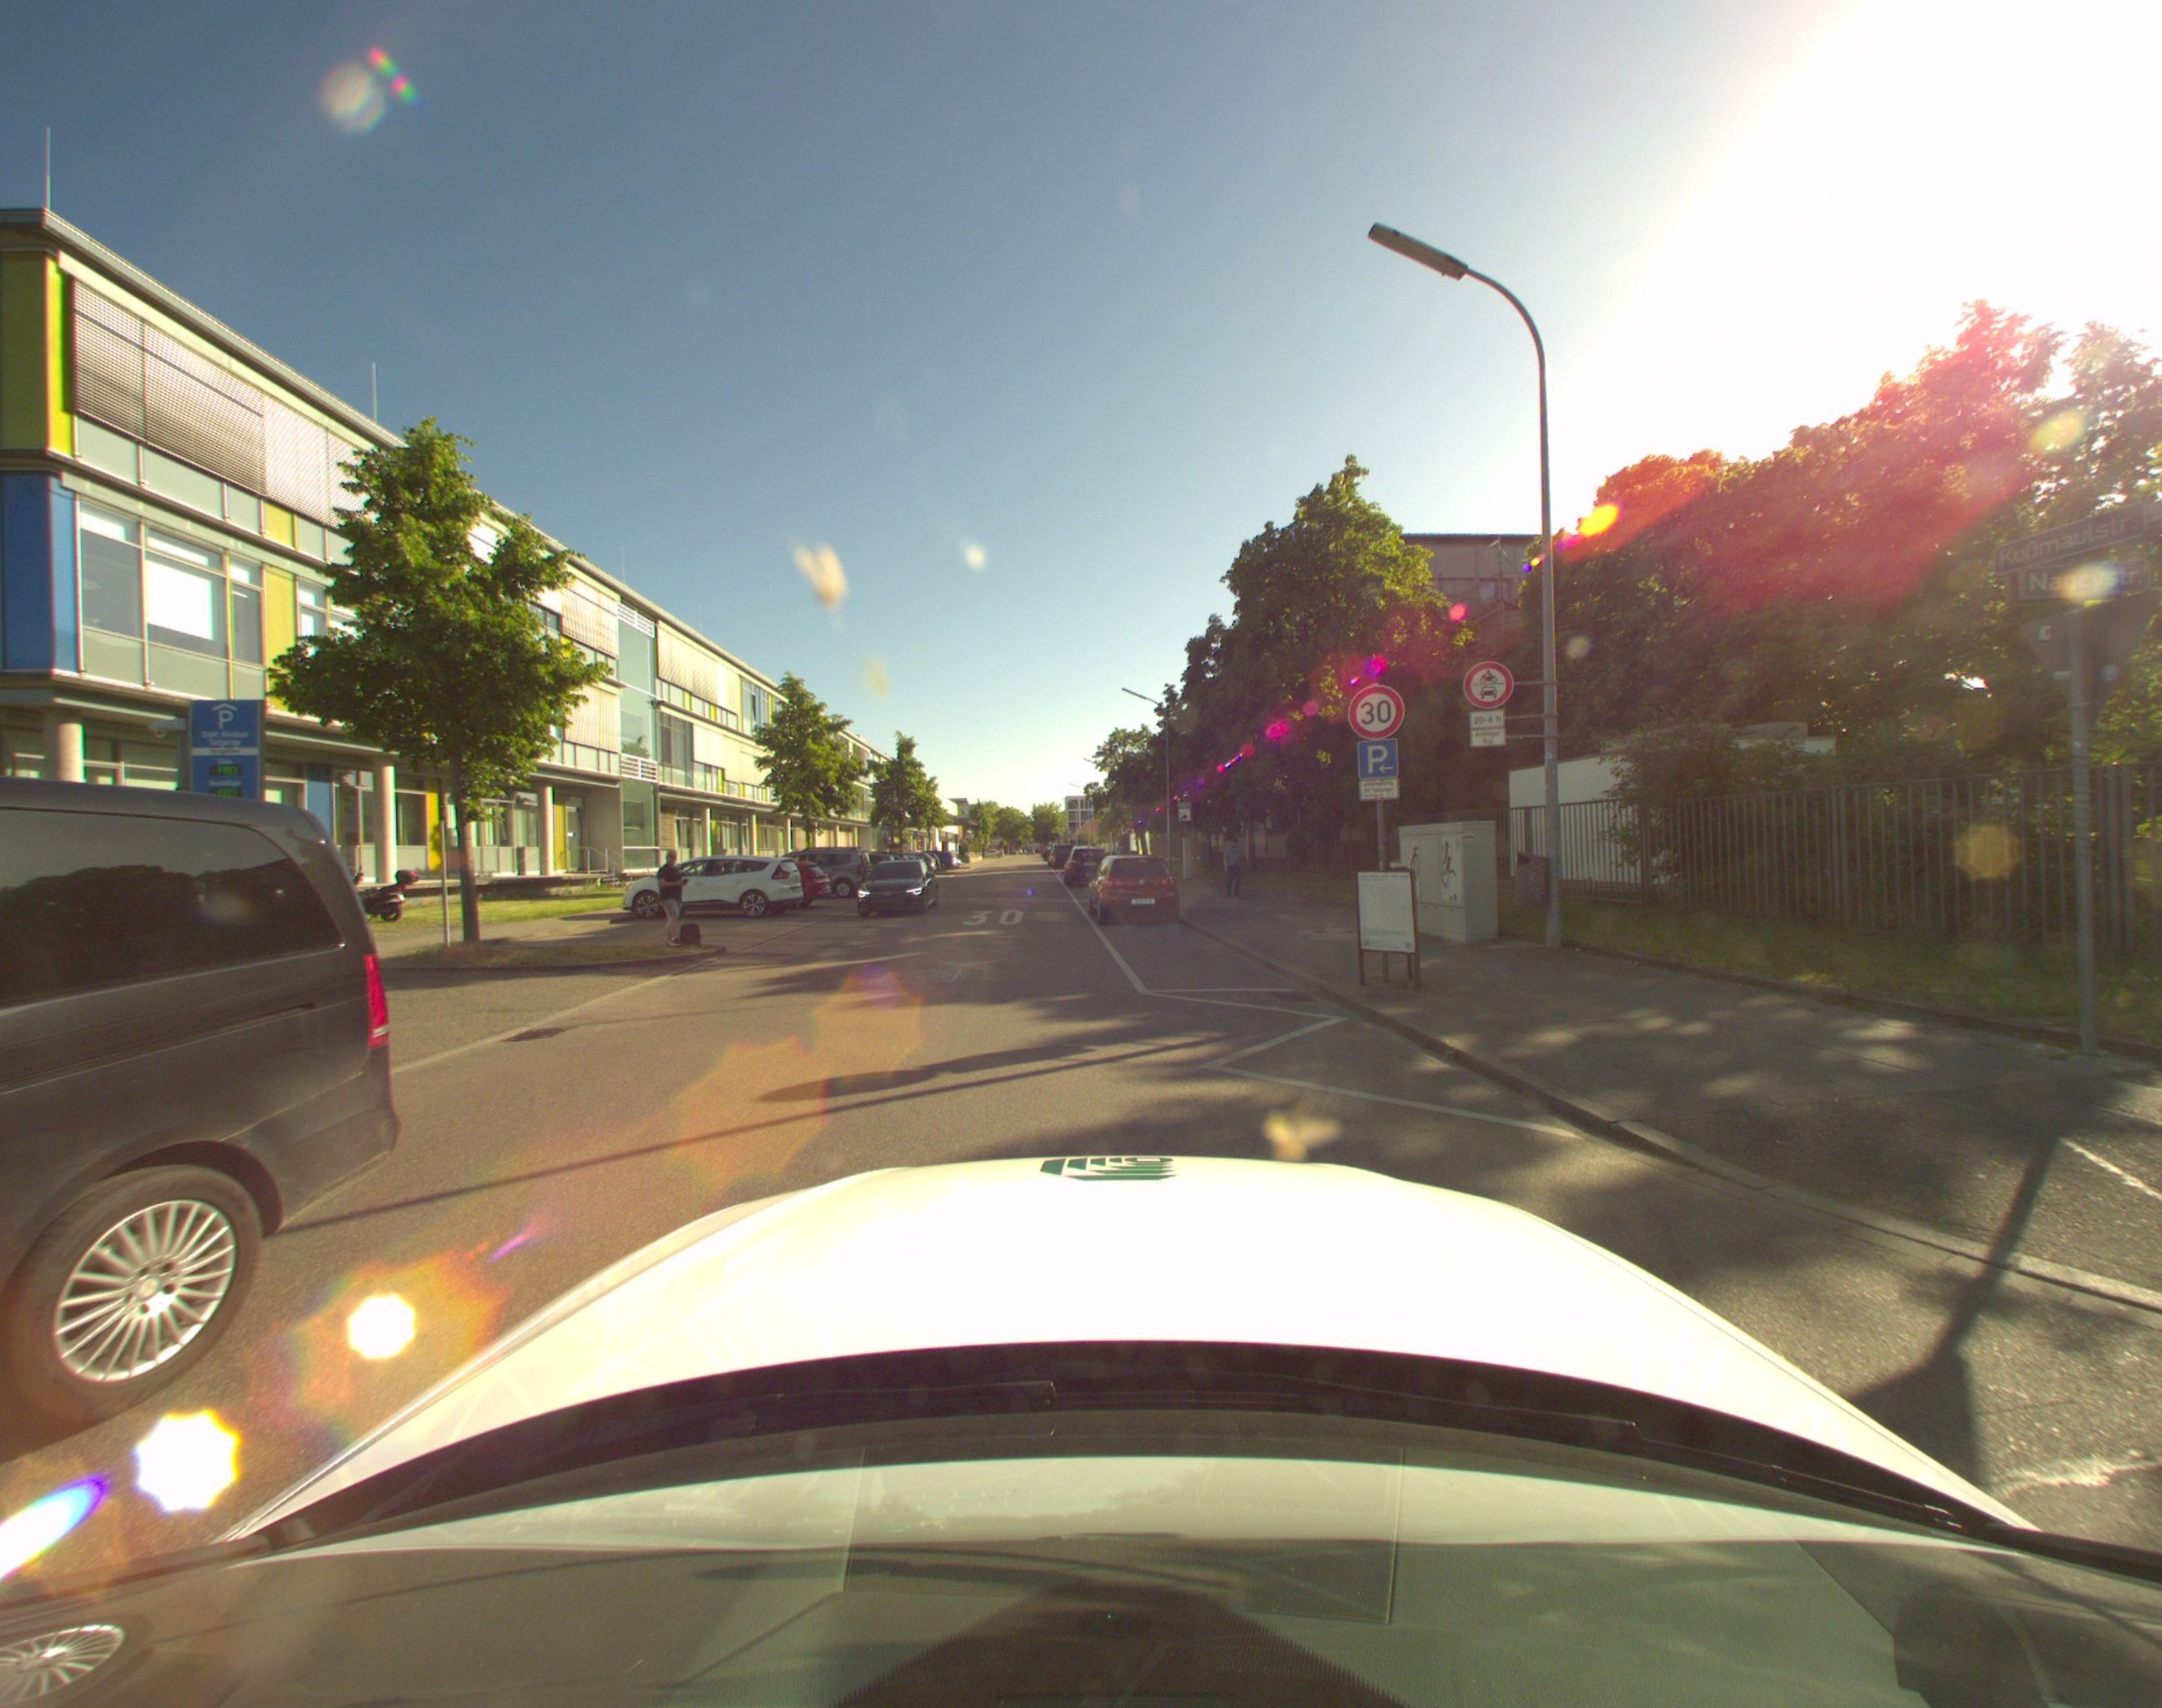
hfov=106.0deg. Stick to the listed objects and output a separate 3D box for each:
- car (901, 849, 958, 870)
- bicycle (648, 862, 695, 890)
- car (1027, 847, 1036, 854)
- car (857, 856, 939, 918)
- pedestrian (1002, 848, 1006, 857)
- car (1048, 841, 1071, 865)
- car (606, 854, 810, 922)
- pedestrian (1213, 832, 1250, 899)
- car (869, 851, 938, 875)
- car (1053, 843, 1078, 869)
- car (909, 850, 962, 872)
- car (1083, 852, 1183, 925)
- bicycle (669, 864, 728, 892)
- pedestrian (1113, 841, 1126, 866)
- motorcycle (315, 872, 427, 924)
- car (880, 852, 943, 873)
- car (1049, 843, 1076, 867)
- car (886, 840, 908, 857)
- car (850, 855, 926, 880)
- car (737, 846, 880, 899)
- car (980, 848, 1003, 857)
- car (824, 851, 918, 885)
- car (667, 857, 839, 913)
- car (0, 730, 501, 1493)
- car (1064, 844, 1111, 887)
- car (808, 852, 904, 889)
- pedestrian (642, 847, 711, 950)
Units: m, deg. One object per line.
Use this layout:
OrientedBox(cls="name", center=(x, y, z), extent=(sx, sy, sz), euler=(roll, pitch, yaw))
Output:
OrientedBox(cls="car", center=(-11.694, 0.402, 63.101), extent=(4.210, 1.603, 1.867), euler=(0, 0, -8))
OrientedBox(cls="bicycle", center=(-17.729, 0.925, 35.303), extent=(0.864, 1.153, 1.996), euler=(0, 0, 6))
OrientedBox(cls="car", center=(-10.275, -0.741, 168.894), extent=(1.740, 1.543, 3.995), euler=(-1, 0, -3))
OrientedBox(cls="car", center=(-5.018, 0.839, 22.790), extent=(1.702, 1.451, 4.077), euler=(-3, 0, -6))
OrientedBox(cls="pedestrian", center=(-13.318, -0.232, 140.334), extent=(0.617, 1.624, 0.715), euler=(-3, 0, -4))
OrientedBox(cls="car", center=(-1.918, -0.101, 72.344), extent=(1.871, 1.978, 3.995), euler=(-3, 1, -3))
OrientedBox(cls="car", center=(-9.984, 0.878, 22.046), extent=(4.597, 1.651, 1.867), euler=(-1, 0, 0))
OrientedBox(cls="pedestrian", center=(4.167, 0.302, 22.532), extent=(0.716, 1.758, 0.884), euler=(-4, 1, -3))
OrientedBox(cls="car", center=(-11.536, 0.571, 53.089), extent=(4.210, 1.462, 1.867), euler=(0, 0, -8))
OrientedBox(cls="car", center=(-1.173, 0.122, 59.893), extent=(1.729, 1.830, 3.901), euler=(-2, 0, -3))
OrientedBox(cls="car", center=(-11.639, 0.528, 65.549), extent=(3.982, 1.552, 1.996), euler=(-2, 0, -6))
OrientedBox(cls="car", center=(1.075, 0.706, 19.002), extent=(1.716, 1.454, 4.645), euler=(-1, 0, -4))
OrientedBox(cls="bicycle", center=(-16.326, 1.004, 34.813), extent=(0.862, 1.153, 2.384), euler=(0, 0, 18))
OrientedBox(cls="pedestrian", center=(2.672, -0.023, 55.991), extent=(0.697, 1.661, 0.751), euler=(-4, 1, -4))
OrientedBox(cls="motorcycle", center=(-16.467, 1.017, 18.914), extent=(2.040, 1.149, 0.498), euler=(1, 1, -6))
OrientedBox(cls="car", center=(-12.123, 0.599, 58.478), extent=(4.210, 1.486, 1.867), euler=(0, 0, -8))
OrientedBox(cls="car", center=(-1.523, 0.041, 66.117), extent=(1.989, 1.822, 4.193), euler=(-3, 1, -3))
OrientedBox(cls="car", center=(-22.799, -0.697, 101.149), extent=(1.989, 2.014, 3.995), euler=(-2, -1, -4))
OrientedBox(cls="car", center=(-10.906, 0.766, 46.162), extent=(3.983, 1.358, 1.739), euler=(0, 0, -8))
OrientedBox(cls="car", center=(-10.089, 0.659, 30.413), extent=(4.732, 1.865, 1.825), euler=(0, 1, -3))
OrientedBox(cls="car", center=(-16.009, -0.219, 146.509), extent=(3.978, 1.519, 1.998), euler=(-2, -1, -4))
OrientedBox(cls="car", center=(-10.337, 0.663, 40.356), extent=(4.243, 1.611, 2.043), euler=(0, 0, -8))
OrientedBox(cls="car", center=(-9.870, 0.904, 24.775), extent=(4.424, 1.501, 1.825), euler=(-2, 0, -3))
OrientedBox(cls="car", center=(-3.626, 0.685, 1.081), extent=(1.950, 1.867, 5.251), euler=(-4, 0, -2))
OrientedBox(cls="car", center=(0.232, 0.419, 35.002), extent=(1.807, 1.666, 4.589), euler=(0, 1, -2))
OrientedBox(cls="car", center=(-10.246, 0.723, 37.405), extent=(3.983, 1.607, 1.867), euler=(0, 0, -8))
OrientedBox(cls="pedestrian", center=(-7.411, 0.791, 14.968), extent=(0.855, 1.842, 0.825), euler=(0, 0, -2))
